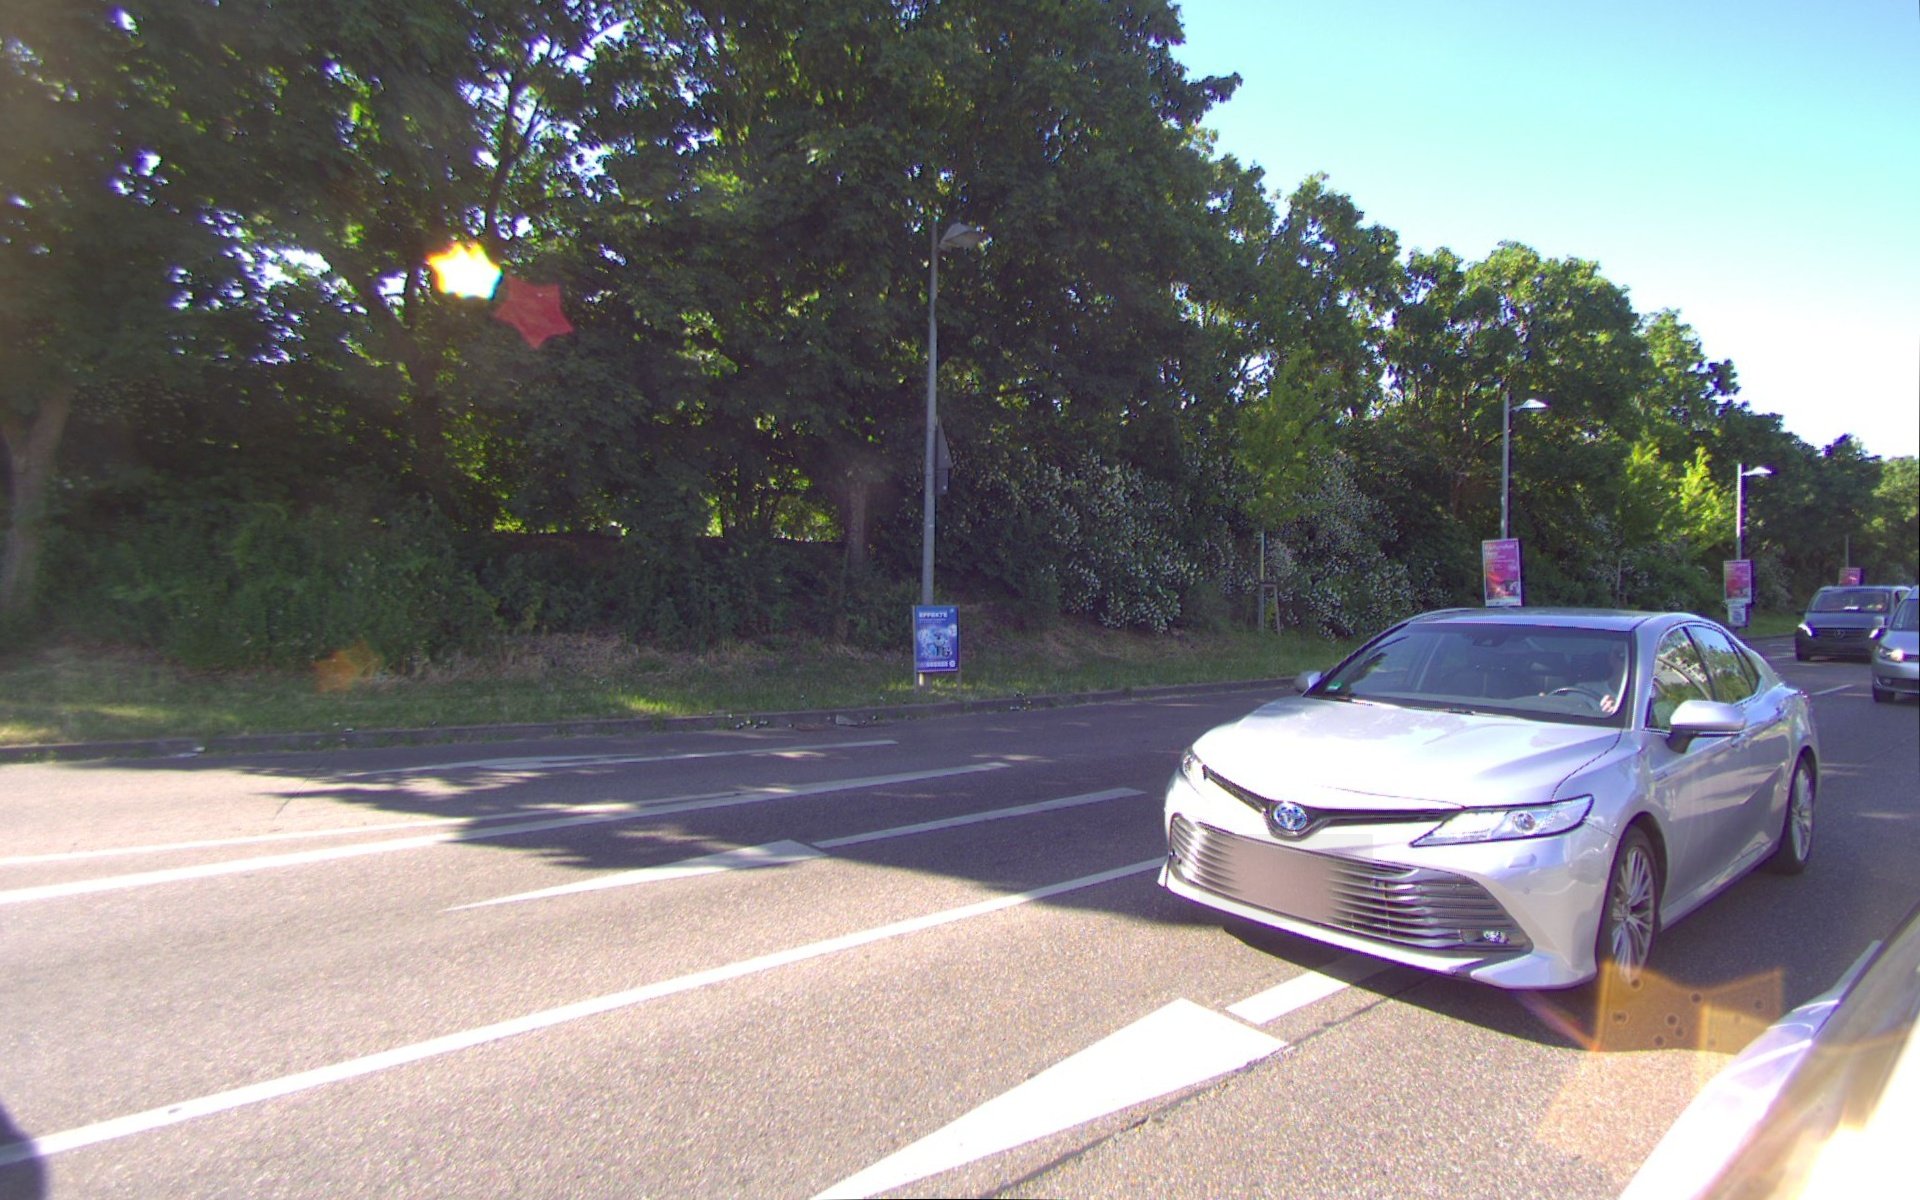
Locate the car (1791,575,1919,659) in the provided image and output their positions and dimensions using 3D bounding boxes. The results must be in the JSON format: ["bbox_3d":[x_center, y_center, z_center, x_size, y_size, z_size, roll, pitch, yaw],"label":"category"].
[{"bbox_3d":[22.968,0.366,25.694,5.056,1.917,1.998,0,1,-40],"label":"car"}]

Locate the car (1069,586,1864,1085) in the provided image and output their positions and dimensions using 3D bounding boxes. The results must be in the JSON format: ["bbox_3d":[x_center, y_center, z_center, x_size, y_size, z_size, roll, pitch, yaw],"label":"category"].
[{"bbox_3d":[2.952,0.695,5.359,4.664,1.477,2.069,0,2,-40],"label":"car"}]

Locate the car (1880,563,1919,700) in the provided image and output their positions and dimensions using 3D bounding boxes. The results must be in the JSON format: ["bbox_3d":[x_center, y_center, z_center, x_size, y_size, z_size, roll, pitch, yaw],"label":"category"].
[{"bbox_3d":[15.611,0.454,15.353,4.540,1.928,1.822,0,1,-40],"label":"car"}]
